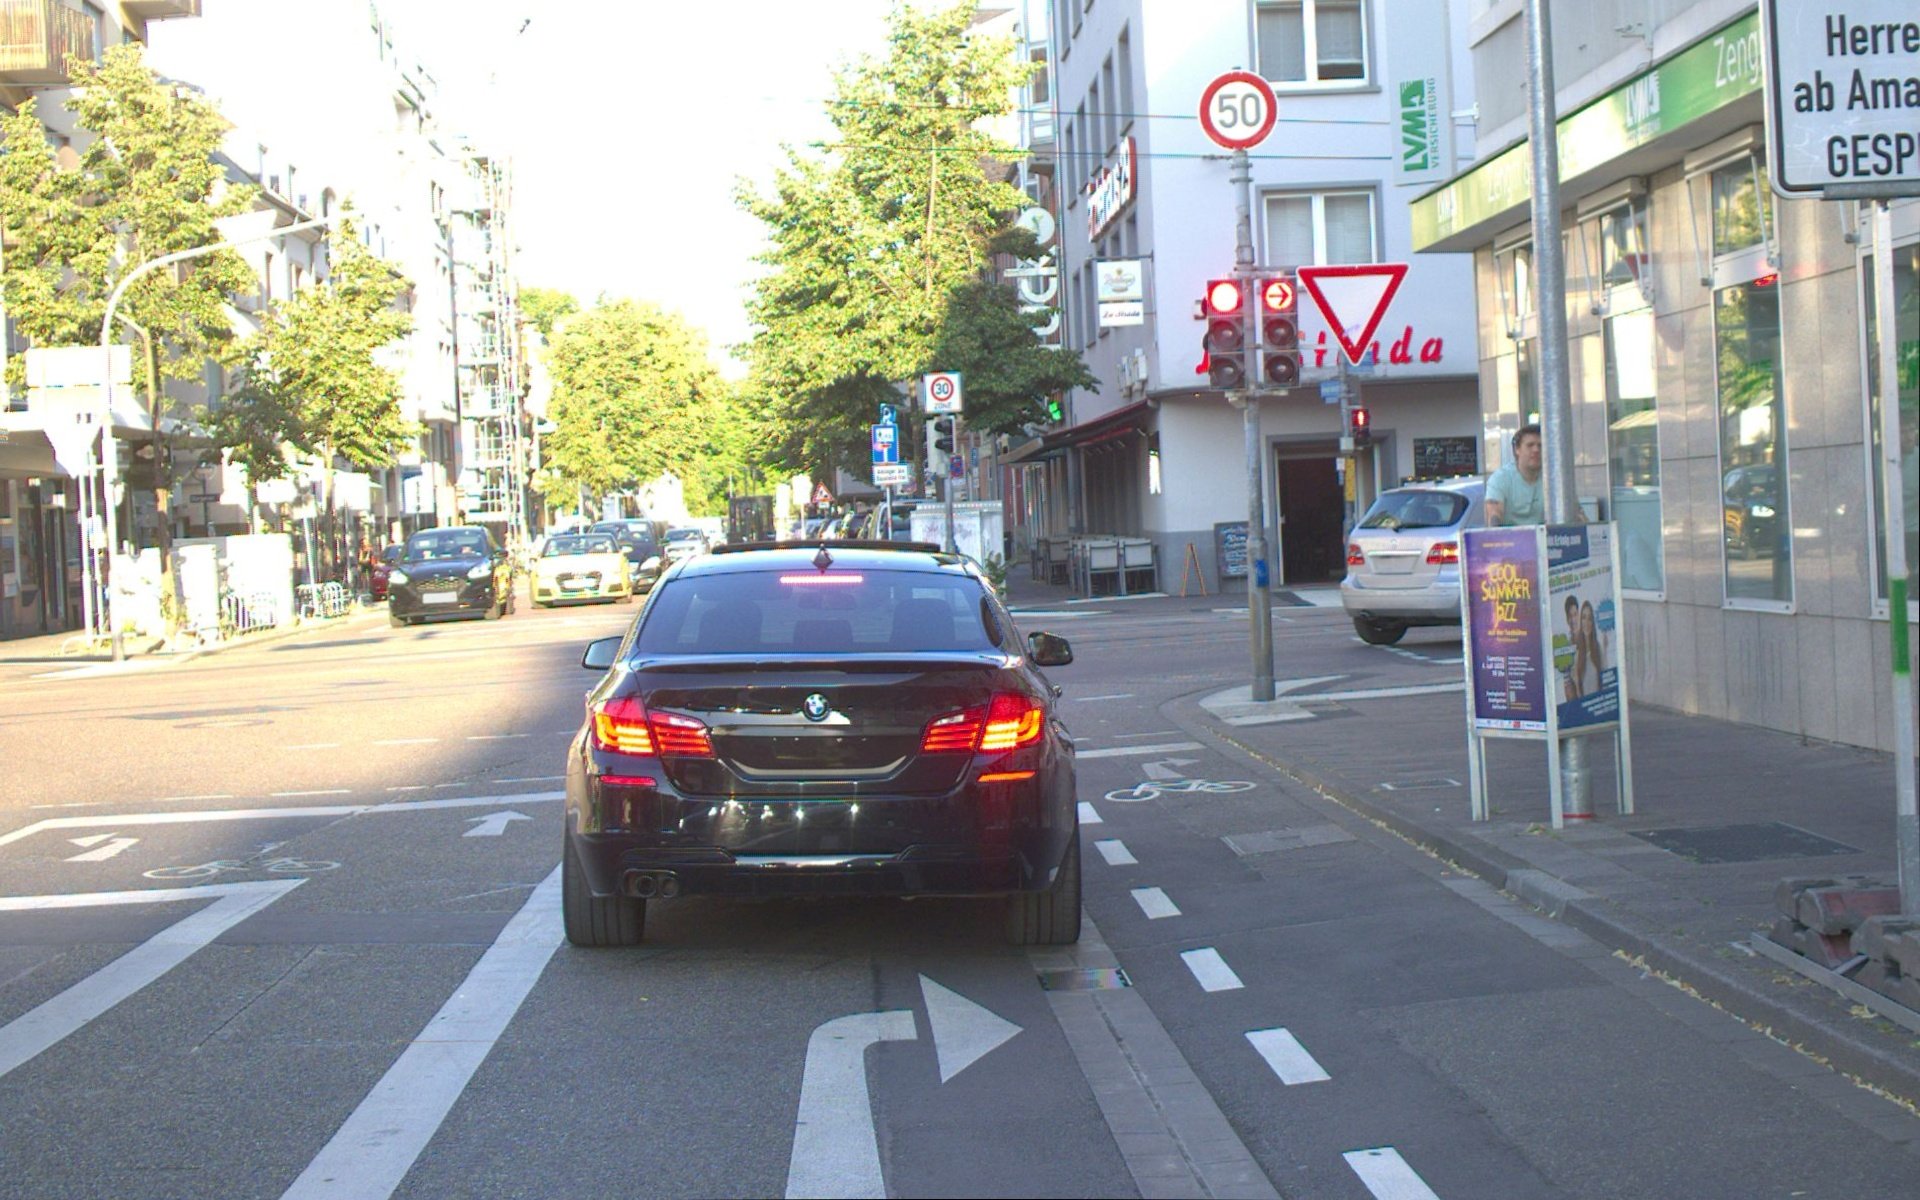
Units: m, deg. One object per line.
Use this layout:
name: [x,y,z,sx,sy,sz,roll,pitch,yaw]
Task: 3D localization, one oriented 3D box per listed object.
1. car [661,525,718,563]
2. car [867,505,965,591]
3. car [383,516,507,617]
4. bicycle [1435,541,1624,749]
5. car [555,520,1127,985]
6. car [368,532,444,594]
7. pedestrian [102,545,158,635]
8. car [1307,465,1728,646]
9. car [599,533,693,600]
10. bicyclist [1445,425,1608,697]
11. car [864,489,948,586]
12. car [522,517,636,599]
car: [-9.679,-2.004,122.876,1.733,1.288,4.001,-3,1,-8]
car: [-0.816,-0.935,62.083,1.625,1.466,3.395,-1,1,-3]
car: [-8.899,-0.605,59.658,1.993,1.612,4.001,-3,1,-8]
bicycle: [3.254,0.232,19.803,0.690,1.103,1.896,-2,1,-1]
car: [-0.518,0.464,13.753,1.903,1.535,4.450,0,1,-3]
car: [-13.905,-0.946,86.444,1.733,1.456,4.001,-2,1,-8]
pedestrian: [-15.811,-0.200,65.502,0.823,1.670,0.871,-3,1,-3]
car: [5.461,-0.458,33.391,4.089,1.570,1.838,-4,2,-42]
car: [-6.590,-0.714,71.911,1.733,1.288,4.001,-3,1,-8]
bicyclist: [3.246,-0.228,19.755,0.722,1.502,0.900,-2,1,-1]
car: [-1.097,-1.246,68.477,1.421,1.848,3.053,-1,1,-5]
car: [-7.253,-0.811,65.128,1.993,1.437,4.001,-3,1,-8]
